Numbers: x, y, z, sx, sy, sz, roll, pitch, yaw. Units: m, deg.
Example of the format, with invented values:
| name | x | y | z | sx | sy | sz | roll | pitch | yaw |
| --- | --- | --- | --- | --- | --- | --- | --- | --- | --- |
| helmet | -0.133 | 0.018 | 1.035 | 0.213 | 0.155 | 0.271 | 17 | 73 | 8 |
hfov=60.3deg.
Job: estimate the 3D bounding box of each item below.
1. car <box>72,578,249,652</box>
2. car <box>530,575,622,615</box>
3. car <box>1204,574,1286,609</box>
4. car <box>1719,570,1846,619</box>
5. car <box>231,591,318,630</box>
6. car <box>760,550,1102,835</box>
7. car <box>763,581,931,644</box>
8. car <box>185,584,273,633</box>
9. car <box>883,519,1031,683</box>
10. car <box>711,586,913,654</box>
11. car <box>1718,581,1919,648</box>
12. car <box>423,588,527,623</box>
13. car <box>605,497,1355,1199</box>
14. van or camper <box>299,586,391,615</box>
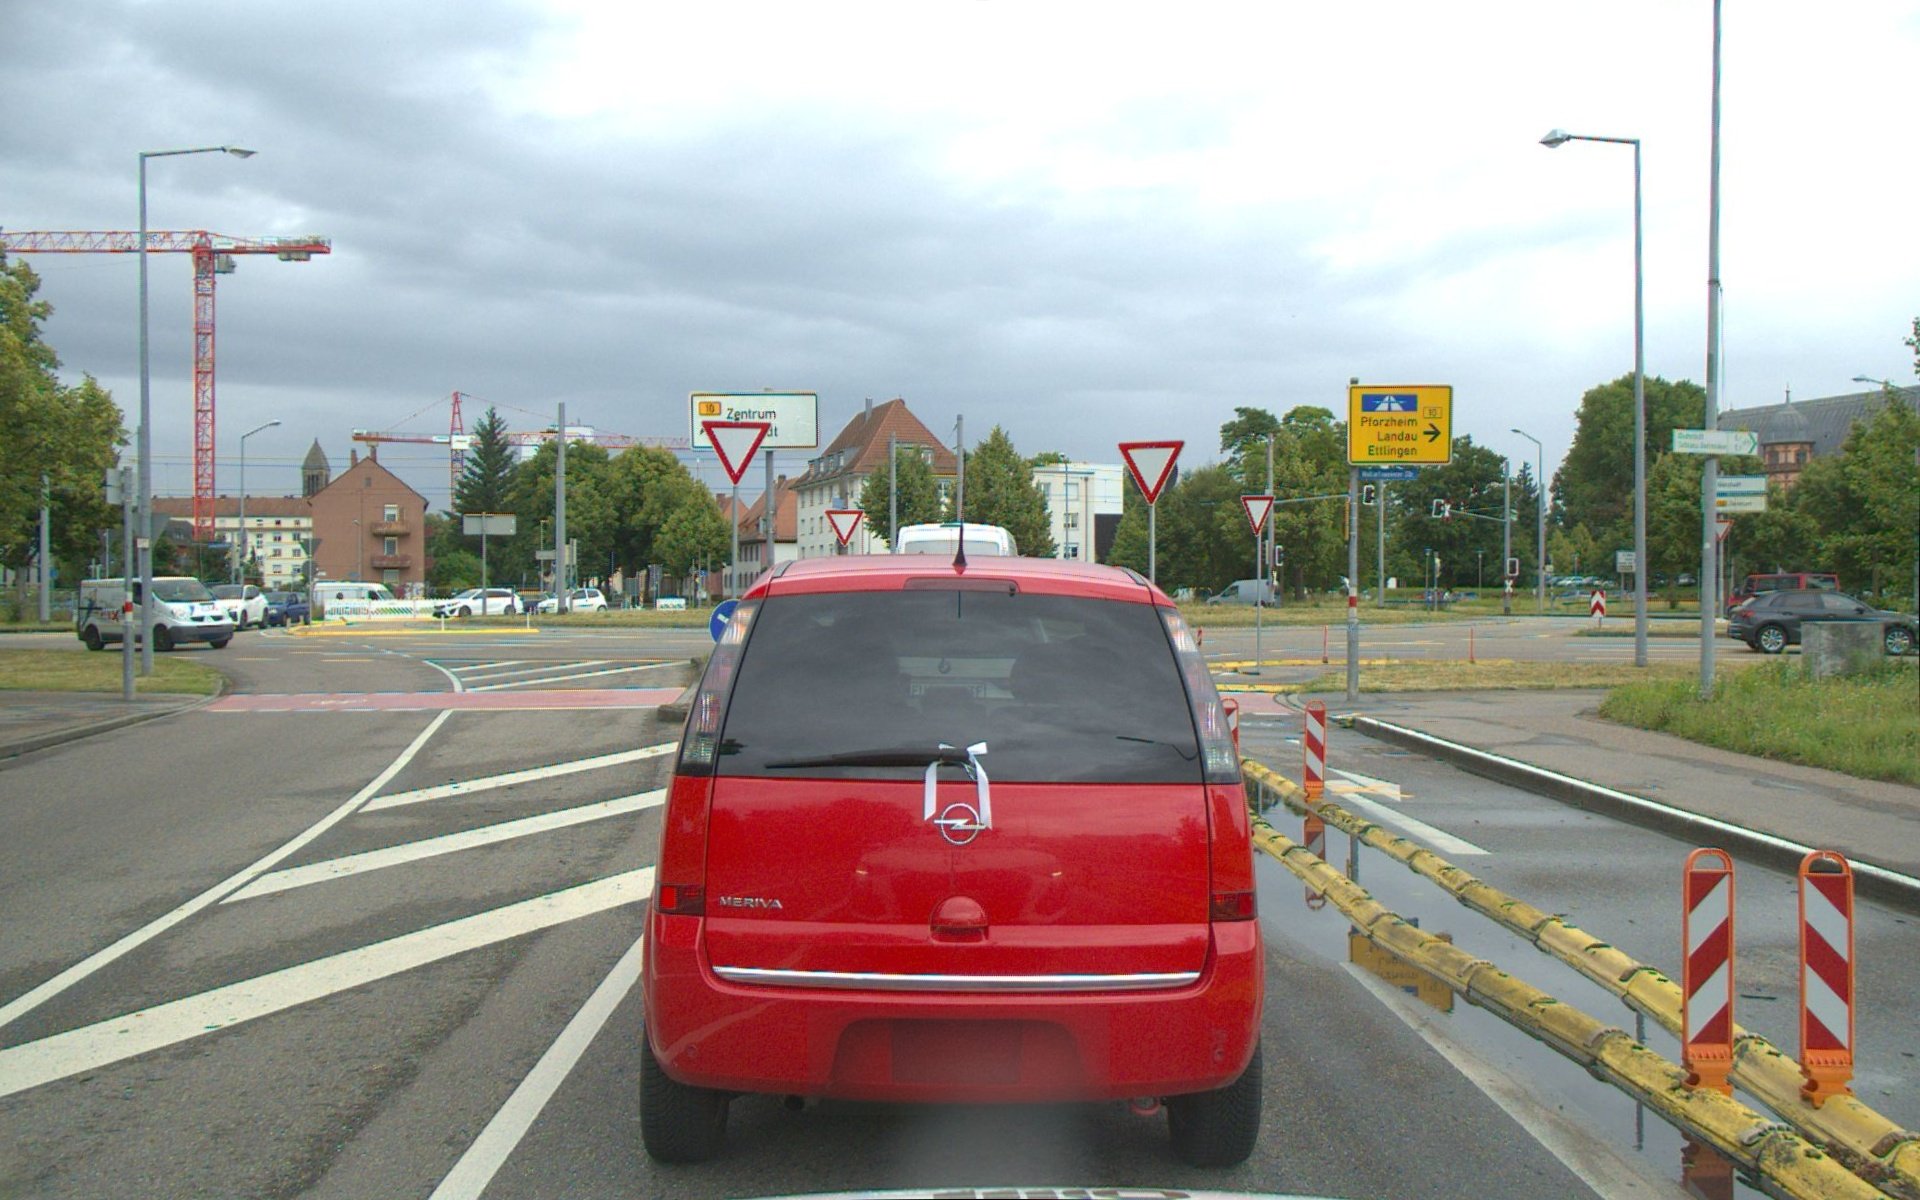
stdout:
| name | x | y | z | sx | sy | sz | roll | pitch | yaw |
| --- | --- | --- | --- | --- | --- | --- | --- | --- | --- |
| car | -21.919 | 0.383 | 45.331 | 4.743 | 1.933 | 2.095 | 0 | 0 | 30 |
| car | -19.730 | -0.273 | 85.132 | 1.959 | 2.049 | 4.466 | 0 | 0 | 34 |
| car | 16.925 | -0.489 | 98.157 | 4.379 | 2.049 | 1.997 | 0 | 0 | 29 |
| car | 33.889 | -0.240 | 68.314 | 2.073 | 1.951 | 4.872 | -1 | 0 | -14 |
| car | -27.796 | 0.417 | 67.165 | 1.891 | 1.515 | 4.000 | -1 | 0 | -1 |
| car | -0.206 | 0.536 | 12.172 | 2.018 | 1.676 | 4.606 | 1 | 0 | -1 |
| car | -2.816 | 0.297 | 41.824 | 3.902 | 1.534 | 2.002 | 0 | 0 | 7 |
| car | -26.832 | 0.298 | 60.852 | 1.895 | 1.713 | 4.181 | -1 | 0 | -9 |
| car | 0.054 | -0.004 | 29.018 | 2.149 | 2.584 | 4.965 | 1 | 0 | 5 |
| car | -3.339 | 0.448 | 37.747 | 4.251 | 1.489 | 2.002 | 0 | 0 | 7 |
| car | 20.037 | 0.315 | 38.244 | 4.216 | 1.489 | 2.002 | 0 | 0 | 13 |
| car | -23.492 | 0.246 | 80.252 | 1.960 | 1.663 | 4.657 | 0 | 0 | 36 |
| car | 0.020 | 0.606 | 5.475 | 1.639 | 1.669 | 3.626 | 1 | 0 | -1 |
| van or camper | -44.396 | 0.051 | 119.456 | 6.045 | 2.049 | 2.002 | 0 | 0 | 10 |
